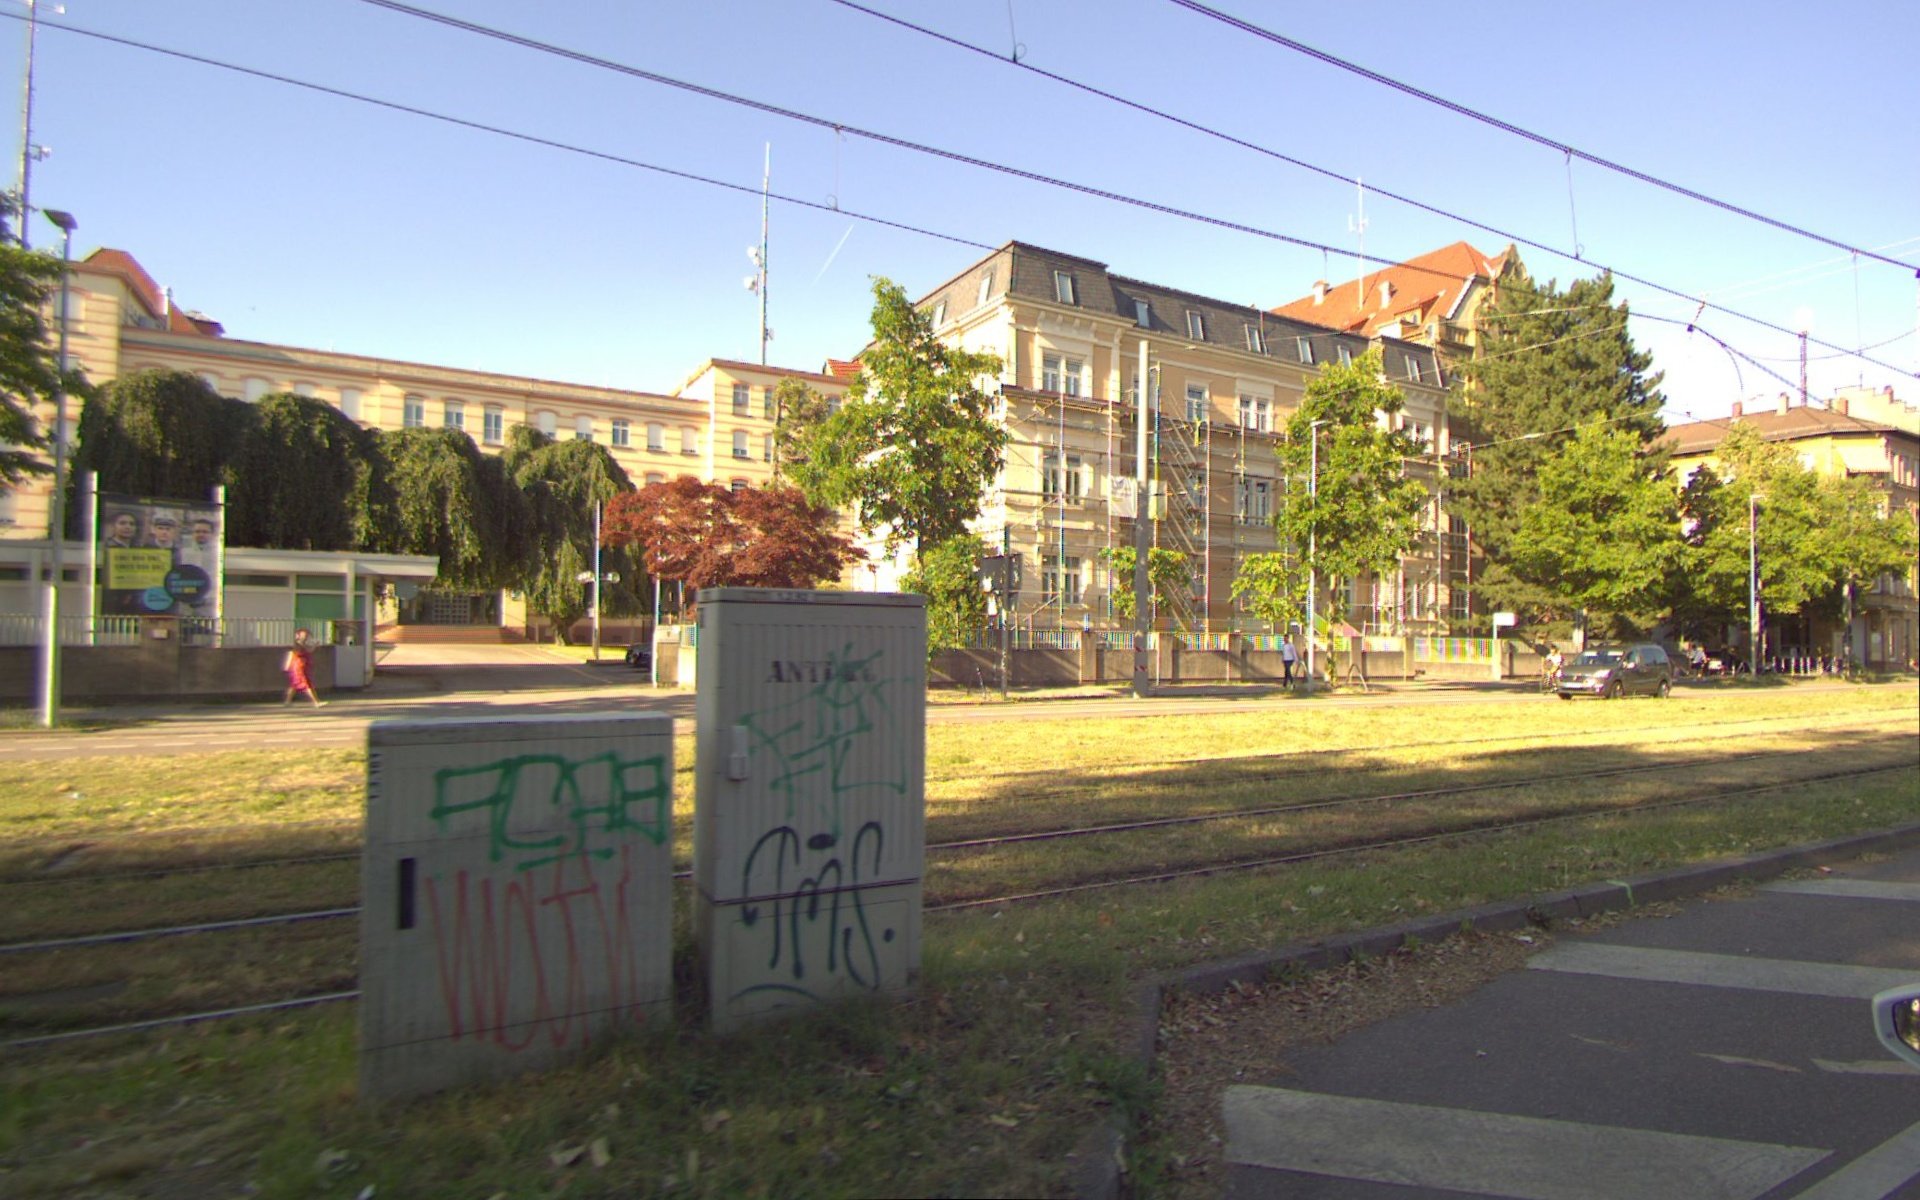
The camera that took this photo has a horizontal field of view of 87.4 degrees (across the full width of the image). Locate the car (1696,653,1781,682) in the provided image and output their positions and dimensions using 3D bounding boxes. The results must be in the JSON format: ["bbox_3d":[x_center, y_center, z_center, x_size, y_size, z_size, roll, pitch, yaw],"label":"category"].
[{"bbox_3d":[47.654,4.098,61.607,1.961,1.491,4.192,2,-1,-1],"label":"car"}]

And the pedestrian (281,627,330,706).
[{"bbox_3d":[-14.151,1.427,21.720,0.805,1.669,0.719,3,-3,-36],"label":"pedestrian"}]

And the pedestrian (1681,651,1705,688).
[{"bbox_3d":[35.544,3.359,48.707,0.878,1.798,0.646,2,-3,-31],"label":"pedestrian"}]

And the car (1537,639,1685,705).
[{"bbox_3d":[20.906,2.313,32.245,4.413,1.944,1.933,3,-2,-25],"label":"car"}]

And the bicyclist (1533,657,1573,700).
[{"bbox_3d":[21.615,2.850,36.615,1.121,1.501,0.771,2,0,-30],"label":"bicyclist"}]

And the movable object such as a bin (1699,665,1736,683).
[{"bbox_3d":[40.972,3.983,54.334,1.223,0.876,1.238,3,-1,-32],"label":"movable object such as a bin"}]

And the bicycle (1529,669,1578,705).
[{"bbox_3d":[21.644,3.158,36.646,1.735,1.209,0.771,2,0,-30],"label":"bicycle"}]

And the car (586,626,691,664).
[{"bbox_3d":[-13.158,1.859,41.135,3.806,1.426,1.598,3,0,-30],"label":"car"}]

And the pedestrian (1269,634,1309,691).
[{"bbox_3d":[11.388,2.163,34.784,1.074,1.953,0.854,2,-3,-31],"label":"pedestrian"}]

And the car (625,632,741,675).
[{"bbox_3d":[-10.139,1.955,36.833,3.806,1.426,1.598,3,0,-30],"label":"car"}]

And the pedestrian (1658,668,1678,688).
[{"bbox_3d":[34.462,3.781,48.905,0.579,0.944,0.646,3,-3,-35],"label":"pedestrian"}]

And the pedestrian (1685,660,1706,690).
[{"bbox_3d":[39.750,4.045,54.264,0.788,1.614,0.615,2,0,-32],"label":"pedestrian"}]

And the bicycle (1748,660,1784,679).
[{"bbox_3d":[53.751,4.630,66.965,2.205,1.194,0.784,2,0,-18],"label":"bicycle"}]
